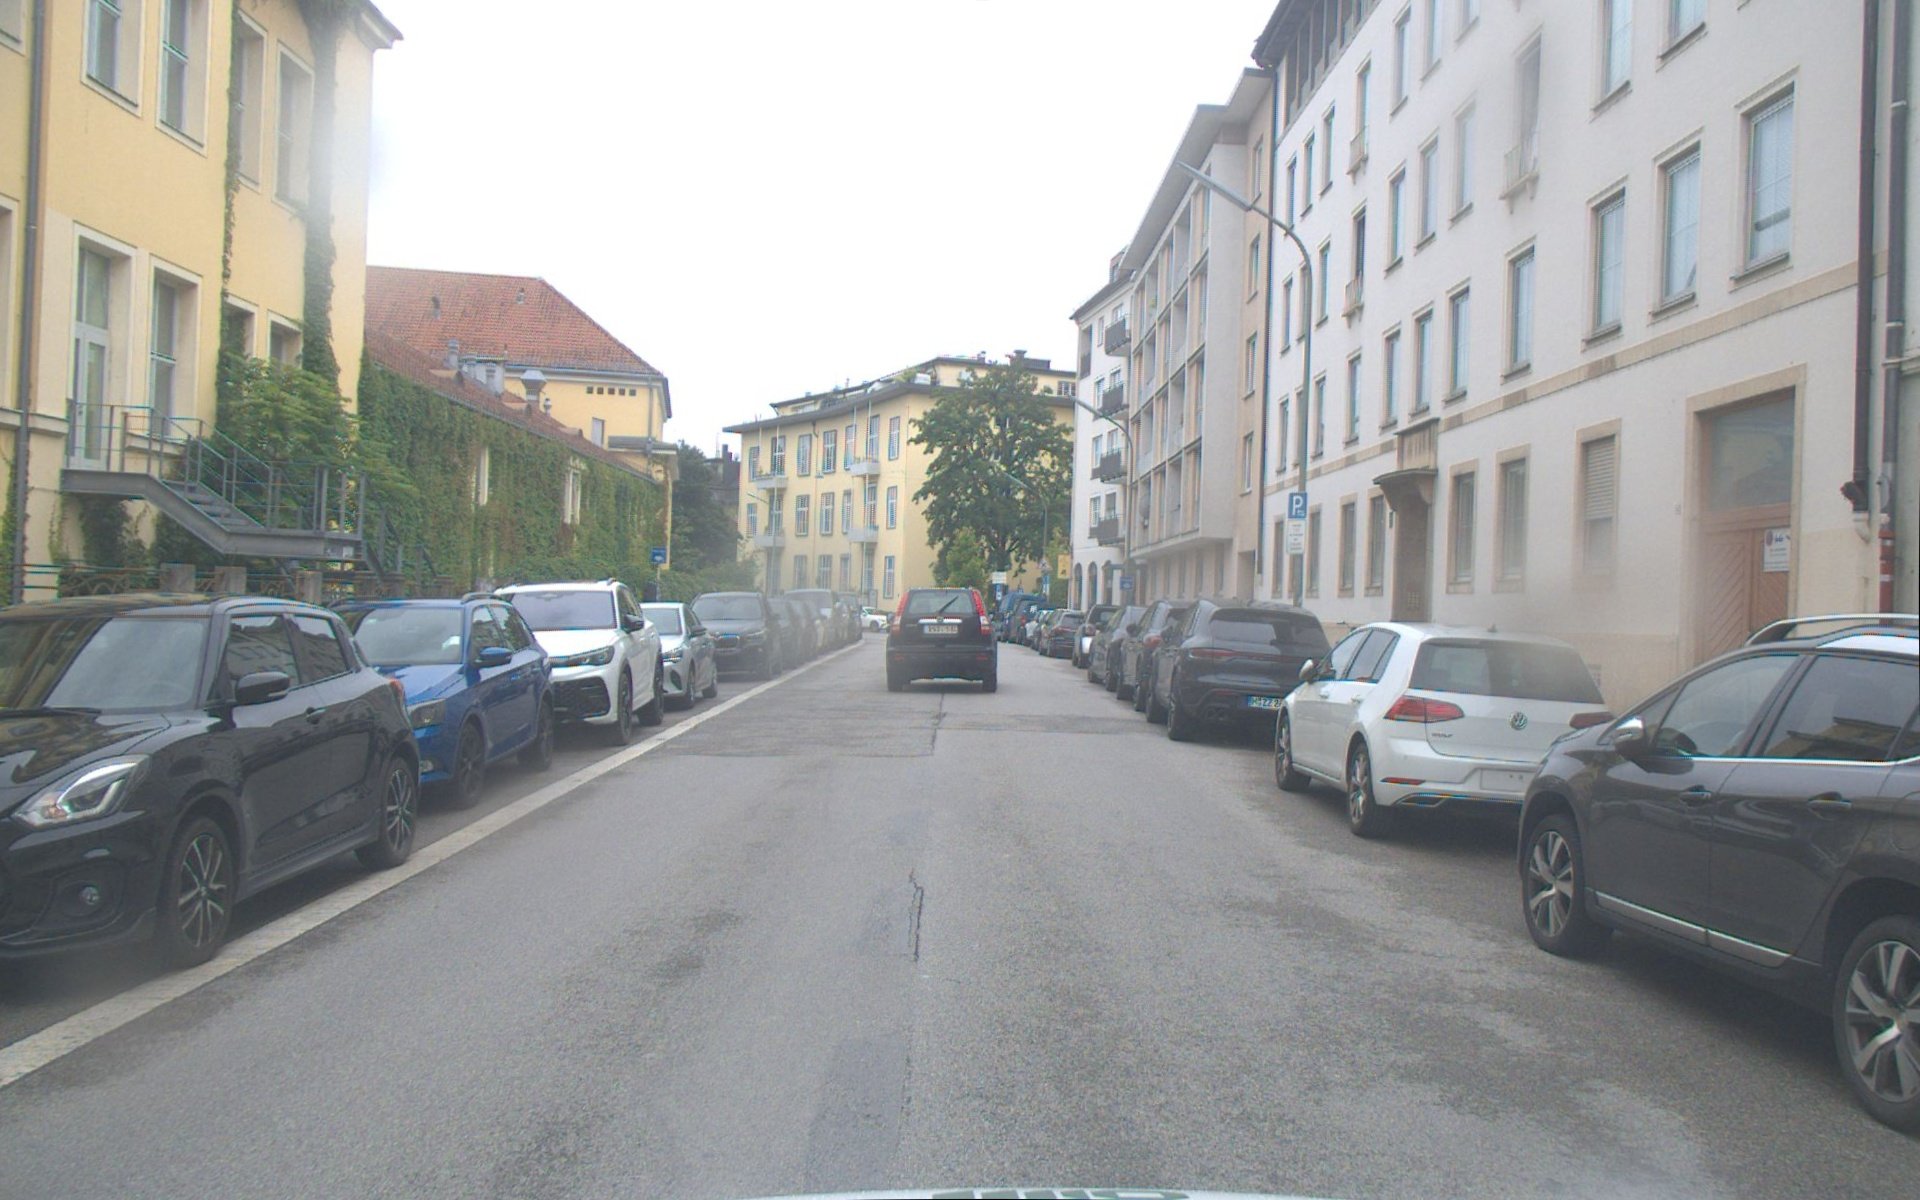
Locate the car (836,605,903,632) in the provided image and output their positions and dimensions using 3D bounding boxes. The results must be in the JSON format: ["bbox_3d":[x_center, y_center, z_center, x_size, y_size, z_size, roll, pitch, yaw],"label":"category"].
[{"bbox_3d":[-6.002,1.222,109.372,3.909,1.646,1.998,2,0,26],"label":"car"}]

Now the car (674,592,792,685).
[{"bbox_3d":[-4.192,0.662,31.060,1.746,1.565,4.193,2,0,-2],"label":"car"}]

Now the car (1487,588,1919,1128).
[{"bbox_3d":[3.655,0.829,6.345,1.659,1.610,4.080,4,0,-4],"label":"car"}]

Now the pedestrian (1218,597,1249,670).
[{"bbox_3d":[6.438,0.782,38.947,0.584,1.683,0.630,2,0,-1],"label":"pedestrian"}]

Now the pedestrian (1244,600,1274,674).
[{"bbox_3d":[6.619,0.809,36.578,0.520,1.612,0.560,2,0,-1],"label":"pedestrian"}]

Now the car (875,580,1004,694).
[{"bbox_3d":[-0.294,0.568,27.897,1.954,1.724,4.380,2,0,1],"label":"car"}]

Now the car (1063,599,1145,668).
[{"bbox_3d":[3.488,0.782,40.704,1.637,1.561,3.881,2,0,0],"label":"car"}]

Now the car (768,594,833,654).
[{"bbox_3d":[-4.464,0.658,46.776,1.547,1.518,3.728,3,0,-2],"label":"car"}]

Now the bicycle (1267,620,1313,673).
[{"bbox_3d":[7.720,1.070,38.711,0.645,1.183,2.028,1,0,0],"label":"bicycle"}]

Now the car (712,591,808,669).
[{"bbox_3d":[-4.368,0.607,36.633,1.746,1.565,4.147,2,0,-2],"label":"car"}]

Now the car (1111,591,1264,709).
[{"bbox_3d":[3.338,0.681,24.966,1.742,1.612,4.271,0,0,0],"label":"car"}]

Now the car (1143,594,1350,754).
[{"bbox_3d":[3.257,0.778,19.579,1.742,1.612,4.330,2,0,1],"label":"car"}]

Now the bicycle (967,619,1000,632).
[{"bbox_3d":[1.600,1.776,114.411,2.163,0.792,0.610,2,-1,13],"label":"bicycle"}]

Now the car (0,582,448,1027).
[{"bbox_3d":[-3.796,0.704,7.659,1.646,1.522,3.985,-1,0,-1],"label":"car"}]

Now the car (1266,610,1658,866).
[{"bbox_3d":[3.563,0.888,12.527,1.658,1.489,4.083,4,0,0],"label":"car"}]

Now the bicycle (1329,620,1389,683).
[{"bbox_3d":[7.699,0.981,31.988,0.645,1.146,2.028,1,0,0],"label":"bicycle"}]

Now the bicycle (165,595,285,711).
[{"bbox_3d":[-8.245,0.571,18.619,0.565,1.209,1.562,4,0,0],"label":"bicycle"}]

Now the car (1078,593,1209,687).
[{"bbox_3d":[3.322,0.684,30.764,1.818,1.571,4.815,1,0,-1],"label":"car"}]

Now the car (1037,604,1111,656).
[{"bbox_3d":[3.449,0.890,50.798,1.760,1.445,4.481,2,0,-2],"label":"car"}]

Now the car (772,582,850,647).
[{"bbox_3d":[-4.617,0.427,51.952,1.953,1.908,4.758,2,0,0],"label":"car"}]

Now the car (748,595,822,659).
[{"bbox_3d":[-4.375,0.651,41.737,1.547,1.481,3.902,2,0,-2],"label":"car"}]

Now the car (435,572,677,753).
[{"bbox_3d":[-4.121,0.573,17.549,1.646,1.662,4.355,-1,0,-2],"label":"car"}]

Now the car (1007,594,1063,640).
[{"bbox_3d":[3.236,0.715,72.332,1.925,1.848,4.933,2,0,-3],"label":"car"}]

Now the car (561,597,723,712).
[{"bbox_3d":[-4.333,0.689,23.046,1.646,1.451,3.893,0,0,-2],"label":"car"}]

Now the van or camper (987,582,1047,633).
[{"bbox_3d":[2.639,0.323,77.833,2.021,2.270,5.431,1,0,-6],"label":"van or camper"}]

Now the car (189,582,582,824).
[{"bbox_3d":[-4.157,0.657,12.647,1.646,1.531,3.973,-1,0,-1],"label":"car"}]
